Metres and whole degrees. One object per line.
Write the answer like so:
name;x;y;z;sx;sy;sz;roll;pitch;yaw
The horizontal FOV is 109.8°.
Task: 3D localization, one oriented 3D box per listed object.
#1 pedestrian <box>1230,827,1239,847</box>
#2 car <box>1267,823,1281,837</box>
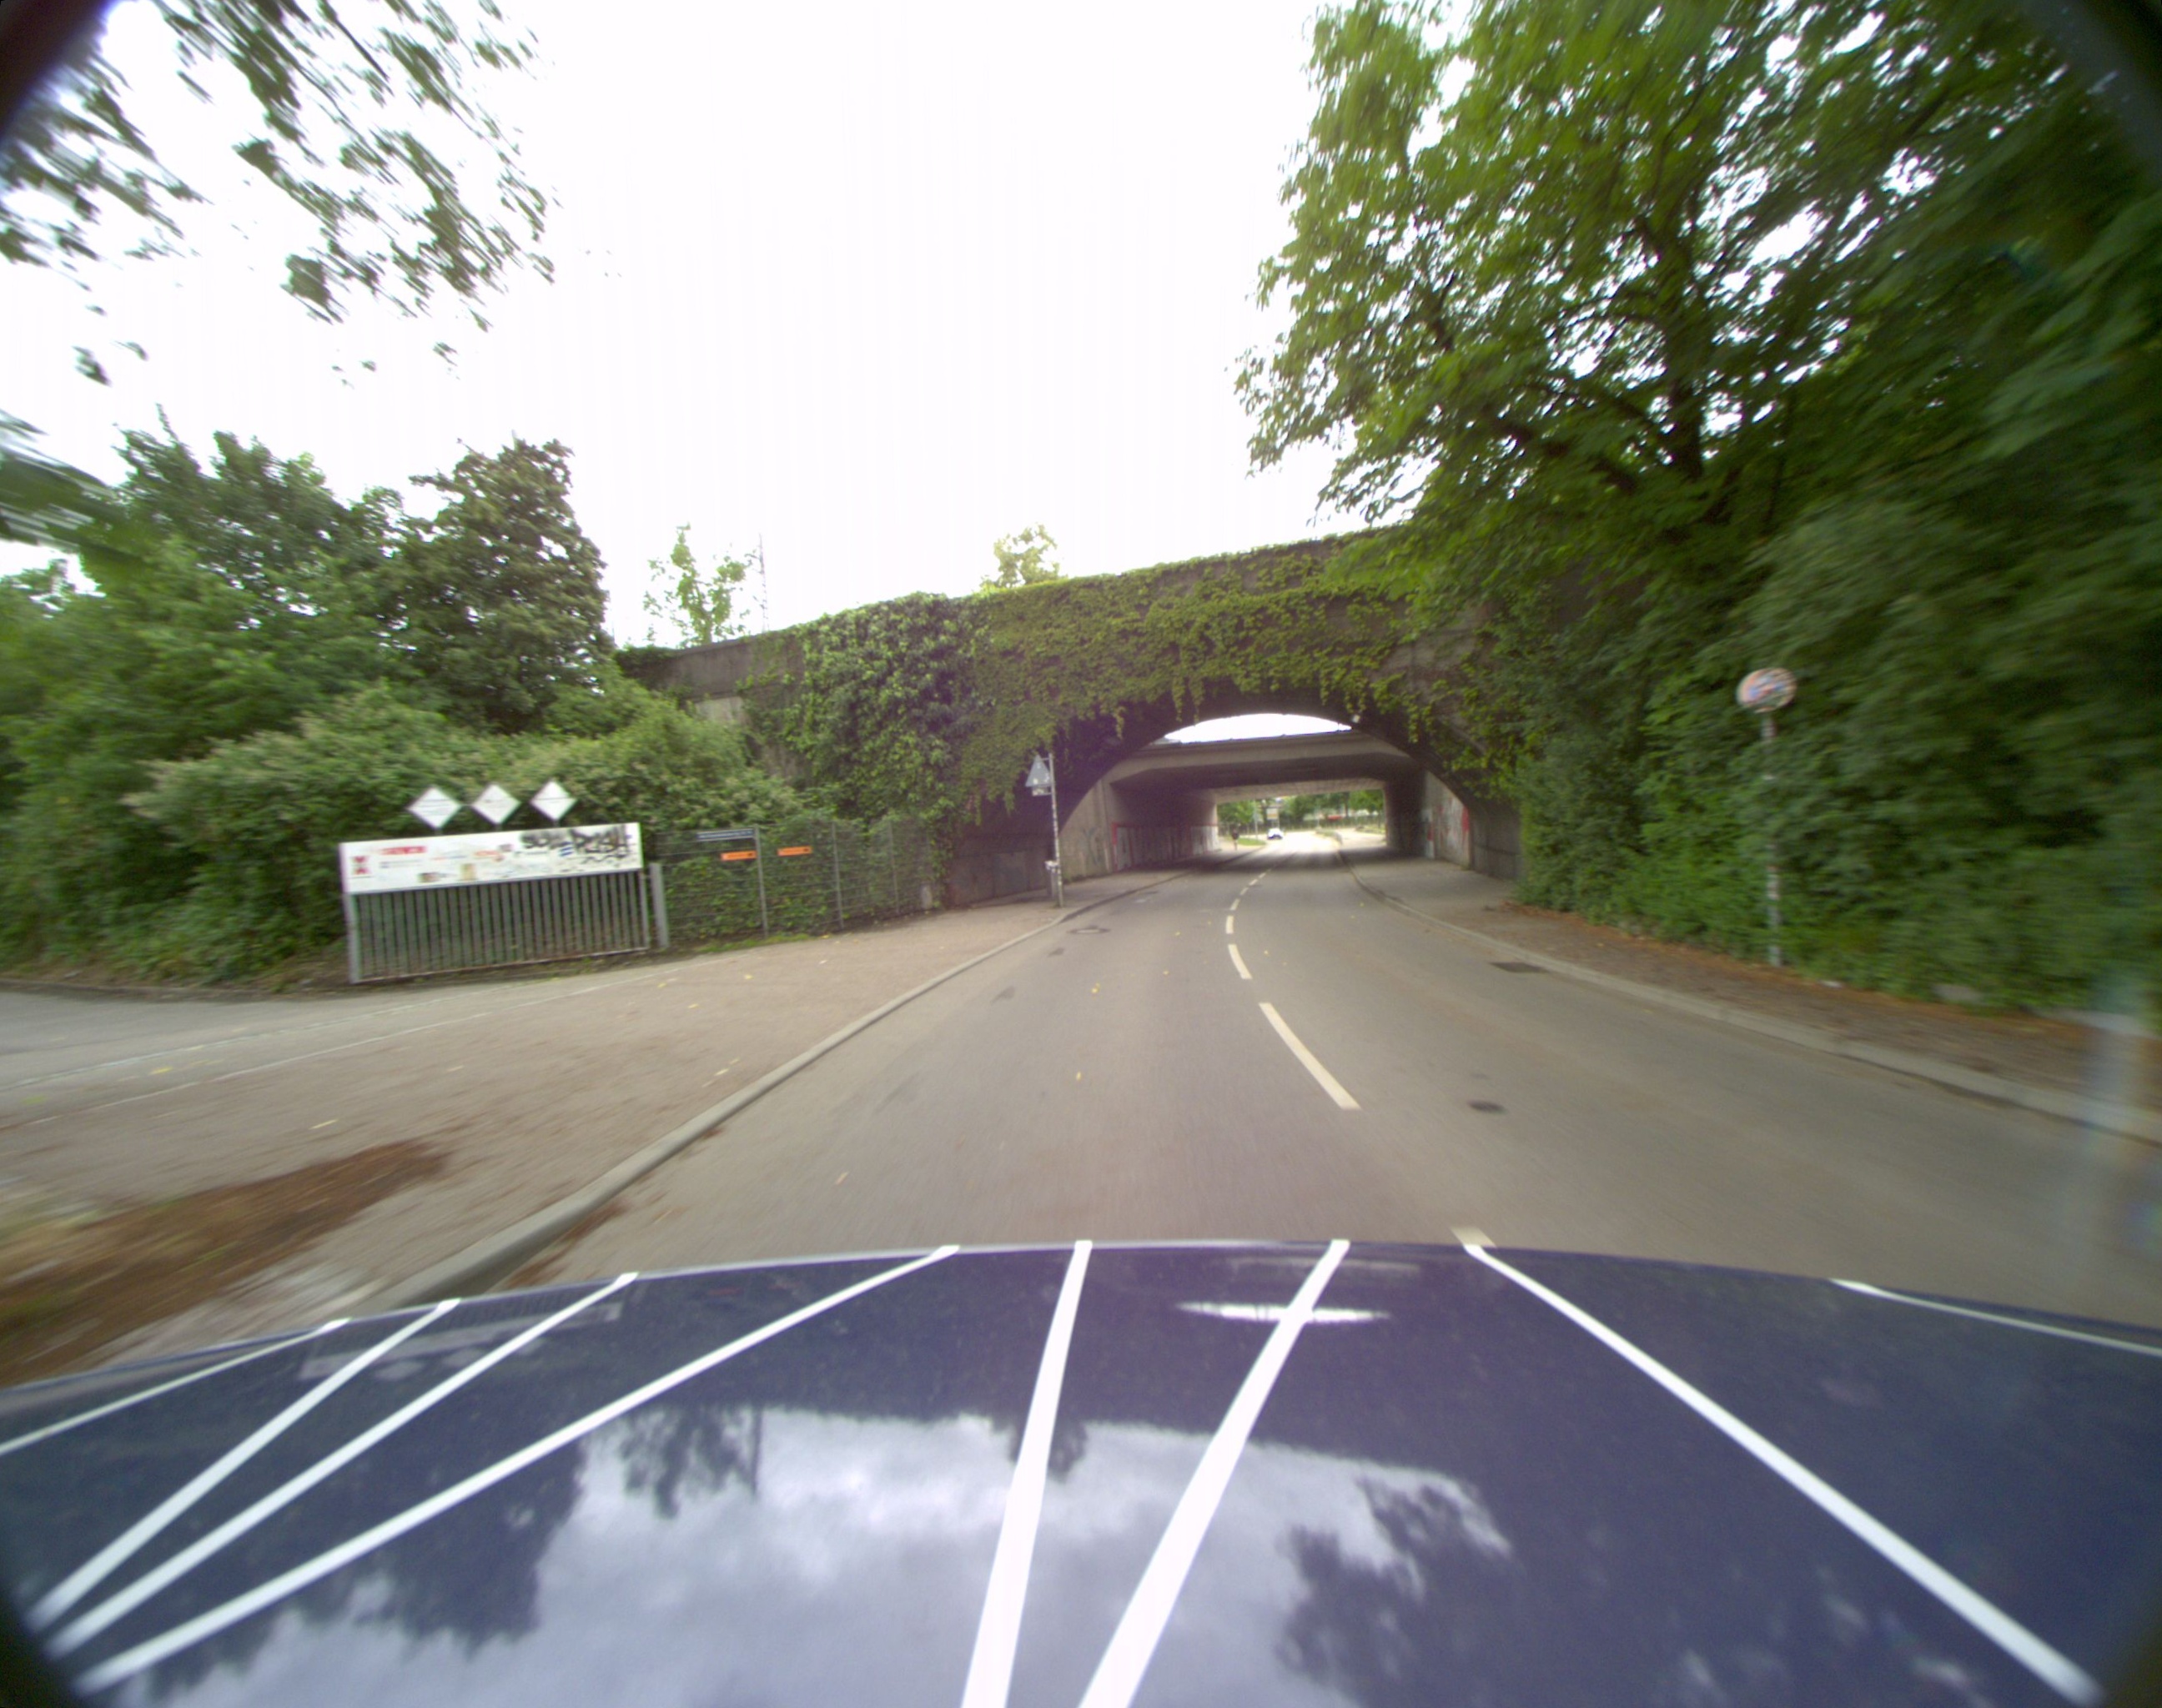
pedestrian;14.649;-1.609;72.455;0.821;1.869;1.181;-1;3;11
car;26.454;-3.300;103.996;1.805;1.602;4.177;-1;4;14
